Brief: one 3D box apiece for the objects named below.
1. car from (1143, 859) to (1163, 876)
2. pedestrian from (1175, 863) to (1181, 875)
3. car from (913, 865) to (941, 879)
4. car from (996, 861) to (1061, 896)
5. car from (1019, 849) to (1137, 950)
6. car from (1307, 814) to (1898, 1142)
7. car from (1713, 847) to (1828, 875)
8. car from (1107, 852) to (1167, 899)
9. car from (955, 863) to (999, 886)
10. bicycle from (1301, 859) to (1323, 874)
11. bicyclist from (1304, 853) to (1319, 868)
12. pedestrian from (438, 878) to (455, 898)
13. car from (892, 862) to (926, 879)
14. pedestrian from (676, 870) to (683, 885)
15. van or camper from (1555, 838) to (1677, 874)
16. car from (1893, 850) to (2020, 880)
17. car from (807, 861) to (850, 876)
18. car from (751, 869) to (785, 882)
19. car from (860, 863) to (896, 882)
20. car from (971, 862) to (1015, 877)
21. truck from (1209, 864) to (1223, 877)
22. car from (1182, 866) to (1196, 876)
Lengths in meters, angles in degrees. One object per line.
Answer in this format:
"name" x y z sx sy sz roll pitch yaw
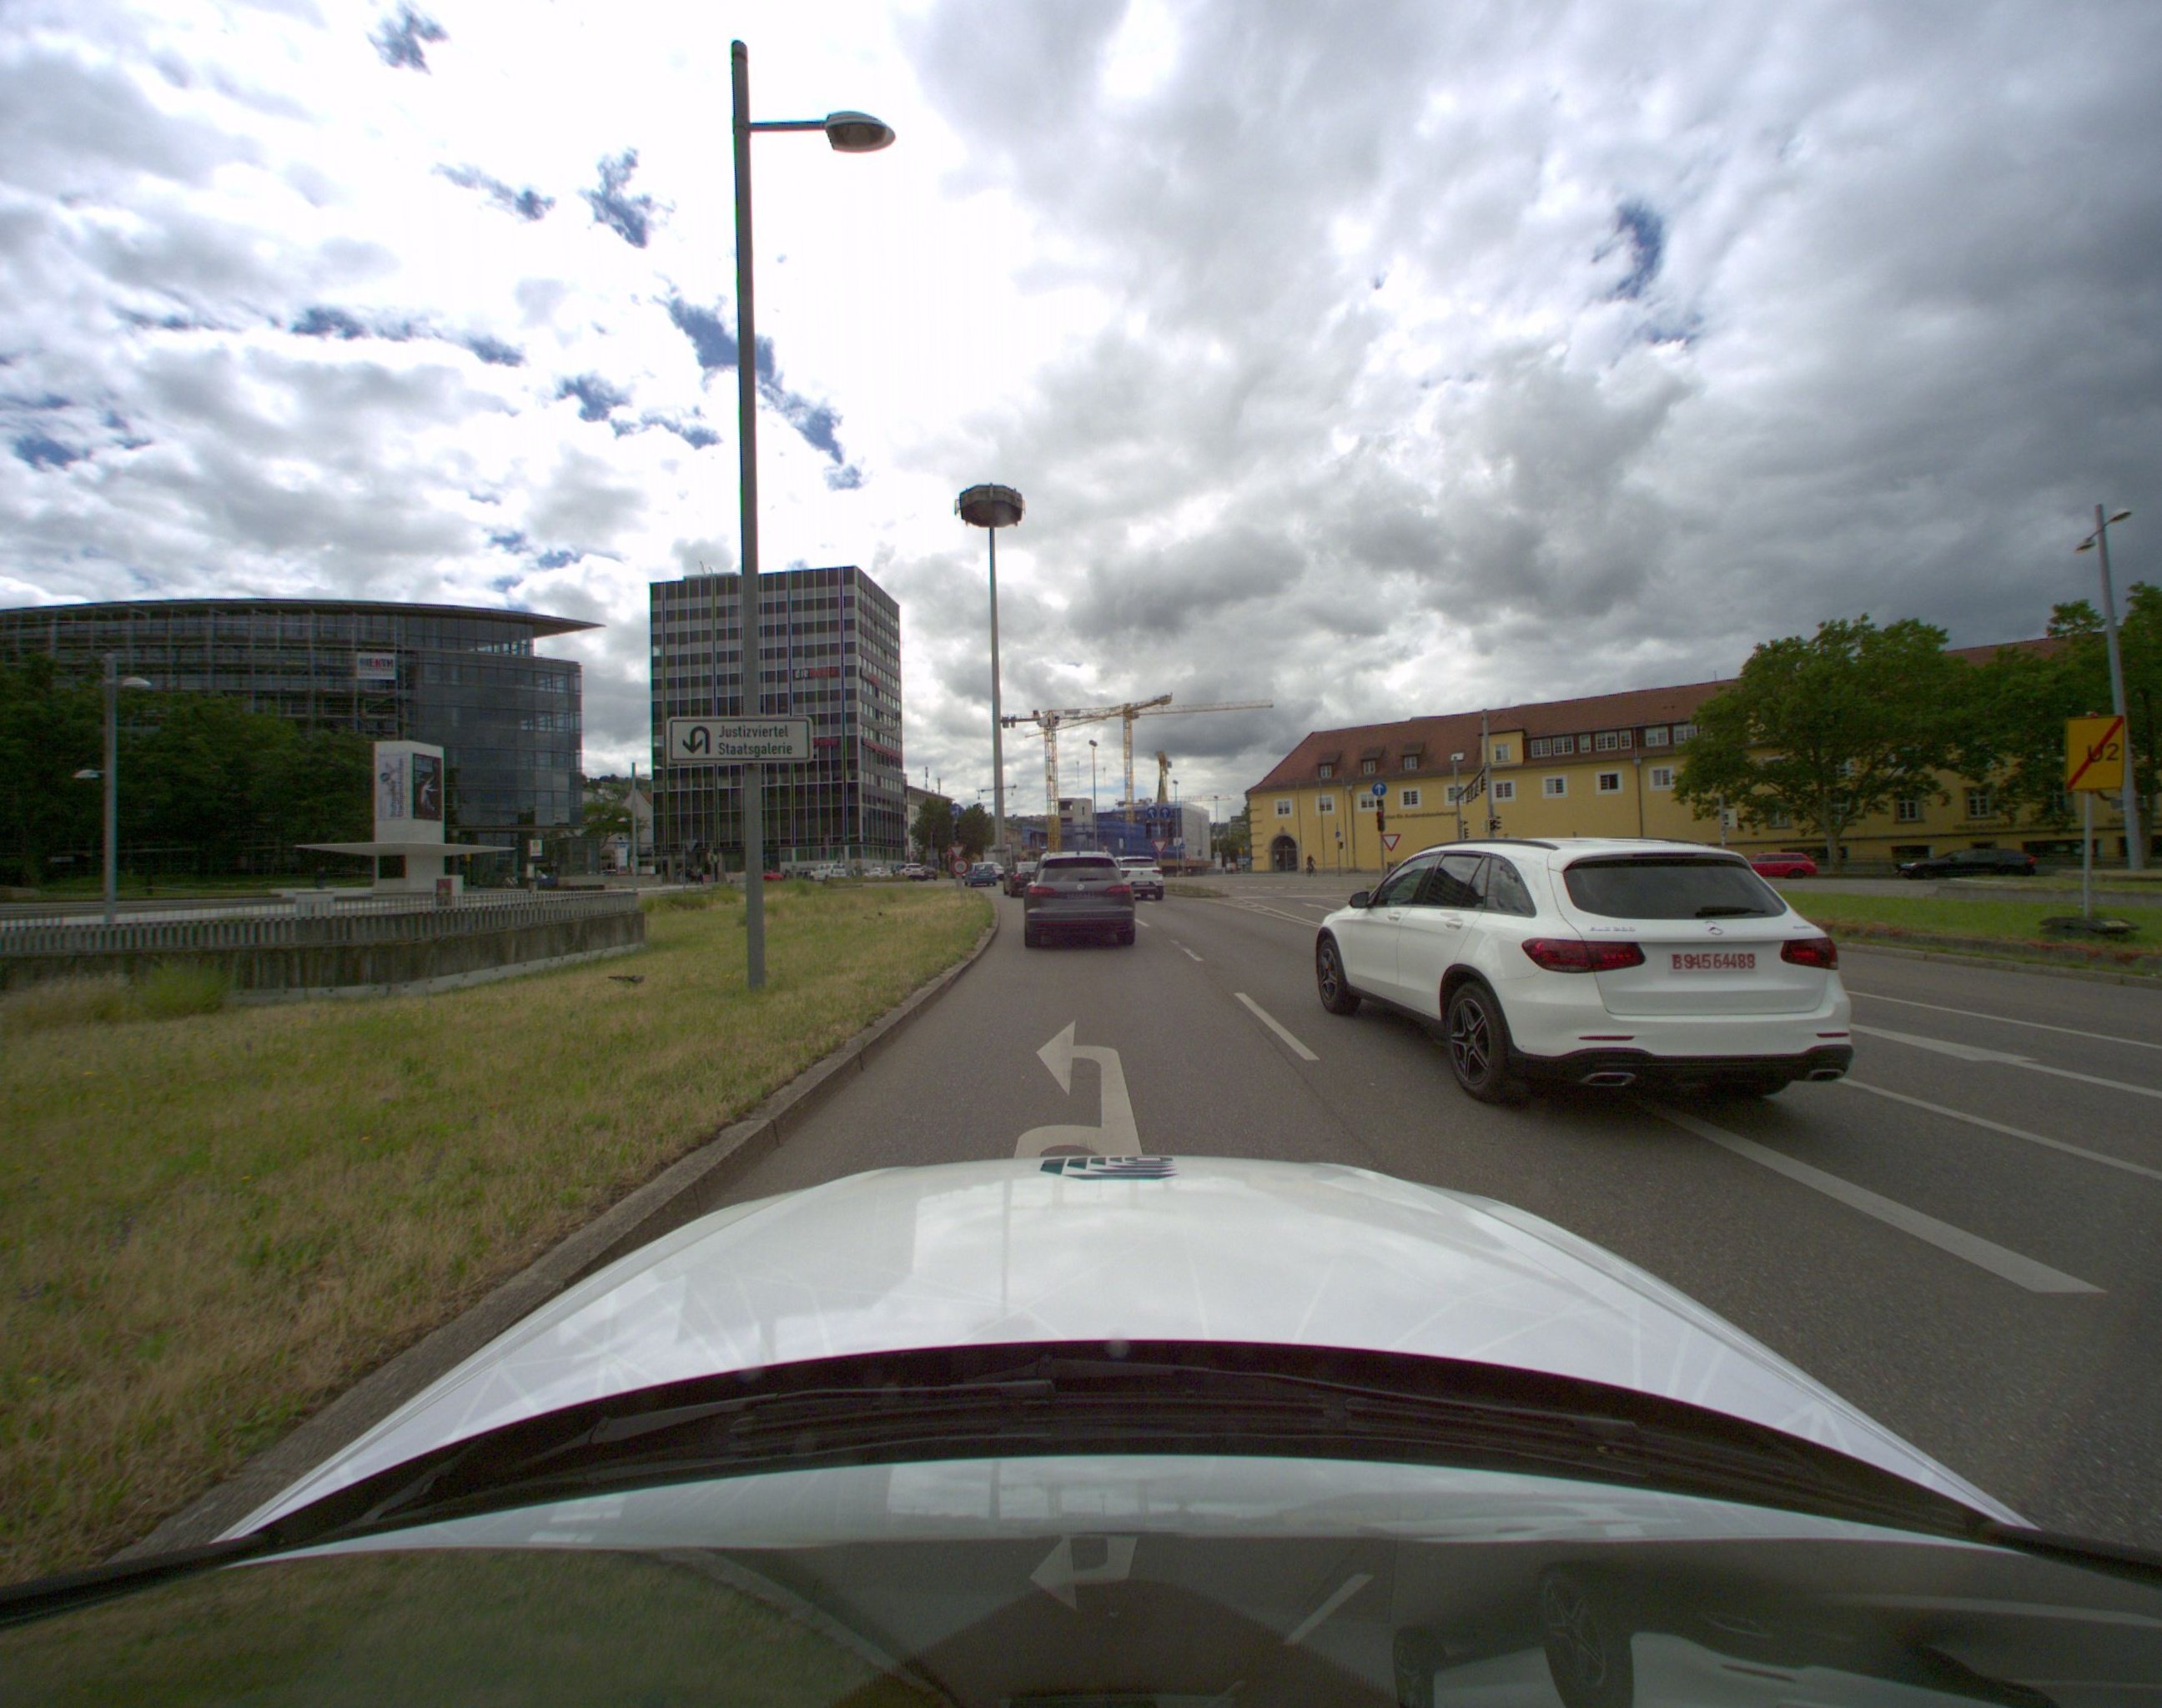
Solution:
"car" 6.852 1.287 77.945 1.795 1.502 3.986 -1 -1 4
"pedestrian" 10.683 1.607 89.468 0.544 1.282 0.464 -1 -1 18
"car" -15.468 1.780 81.776 1.651 1.396 3.561 -1 0 -31
"car" -2.264 0.990 34.016 1.797 1.356 4.046 -1 -1 -17
"car" -0.066 0.743 15.462 1.927 1.647 3.999 -1 0 -1
"car" 3.292 0.626 6.375 1.813 1.647 4.378 -1 0 0
"car" 37.622 0.404 44.626 4.632 1.420 1.607 -1 -1 34
"car" 1.997 0.755 30.032 1.888 1.585 3.799 -1 0 -1
"car" -6.618 1.249 51.565 1.800 1.356 4.040 -1 -1 -22
"bicycle" 18.122 1.004 63.994 0.921 1.159 2.463 0 0 -2
"bicyclist" 18.119 0.506 63.996 0.921 1.159 0.725 0 -1 -3
"pedestrian" -35.048 1.893 45.006 0.472 1.081 0.560 0 -1 3
"car" -15.760 1.479 74.366 1.826 1.496 3.867 -1 0 -32
"pedestrian" -41.906 2.434 85.013 0.627 1.593 0.584 0 -1 -38
"van or camper" 31.970 0.126 48.775 5.947 2.014 2.032 -1 -1 38
"car" 43.568 0.547 40.668 4.037 1.413 1.670 -1 -1 34
"car" -27.997 1.593 90.243 4.551 1.502 2.266 -1 0 38
"car" -37.152 2.519 96.688 3.930 1.502 1.735 -1 0 32
"car" -22.529 2.026 90.215 3.950 1.610 1.912 3 6 42
"car" -7.048 1.248 64.818 1.683 1.139 4.025 -1 -1 -36
"truck" 27.873 3.432 167.766 2.111 2.453 4.849 -1 0 17
"car" 18.256 2.838 137.196 1.790 1.502 3.996 -1 0 14
